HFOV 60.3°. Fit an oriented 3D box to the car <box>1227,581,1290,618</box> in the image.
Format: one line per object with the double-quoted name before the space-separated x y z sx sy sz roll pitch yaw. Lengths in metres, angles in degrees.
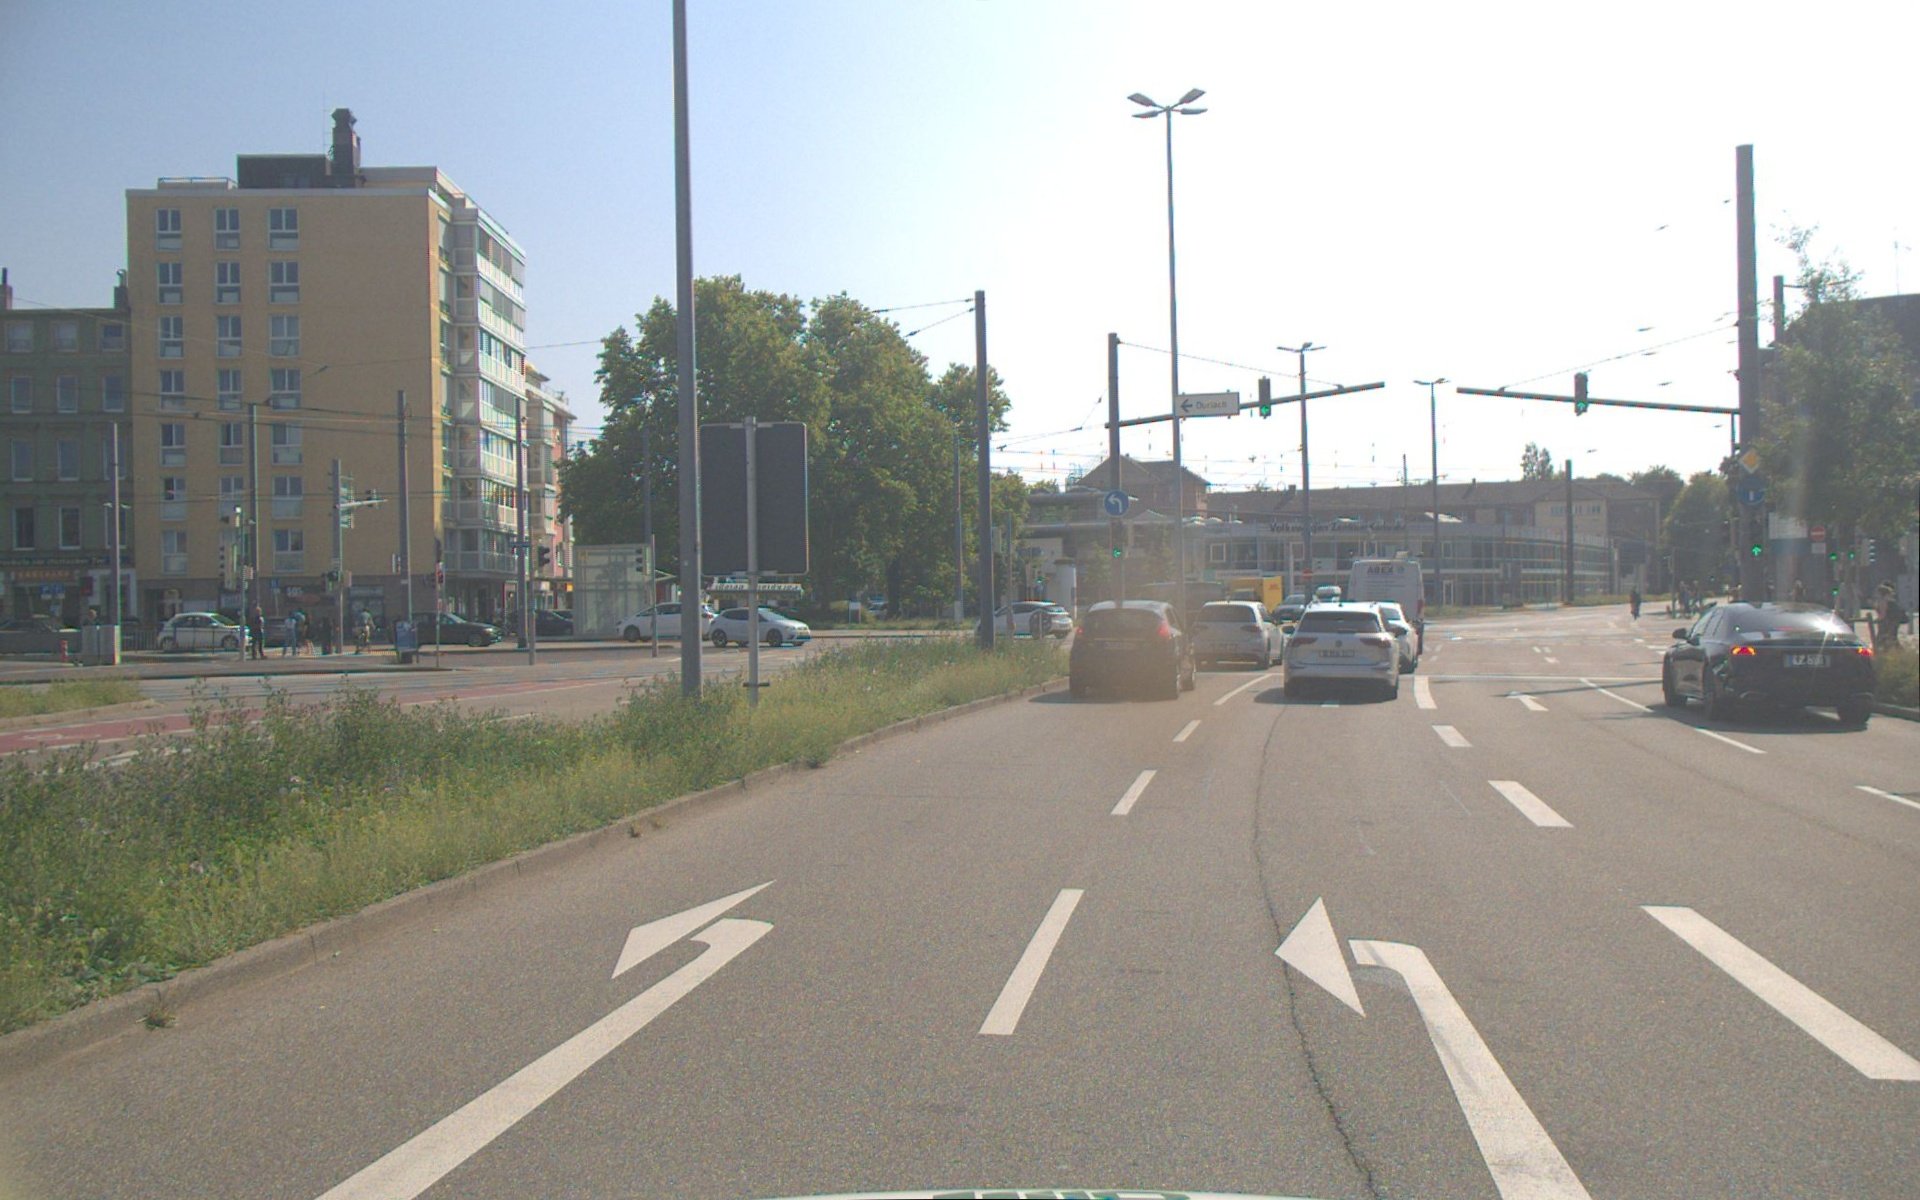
"car" 17.010 -0.025 94.208 1.957 2.049 4.653 -1 0 32

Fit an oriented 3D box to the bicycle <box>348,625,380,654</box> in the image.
"bicycle" -21.954 1.453 60.950 0.713 1.001 1.730 -1 0 -6

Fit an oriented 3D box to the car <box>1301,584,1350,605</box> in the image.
"car" 23.169 -0.365 104.851 1.860 1.302 4.124 -1 0 30

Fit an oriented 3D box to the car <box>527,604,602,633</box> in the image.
"car" -22.856 1.083 95.644 3.907 1.585 1.868 -1 0 -3

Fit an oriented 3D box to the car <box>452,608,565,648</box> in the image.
"car" -17.488 1.075 64.225 3.959 1.423 1.585 -1 0 -5

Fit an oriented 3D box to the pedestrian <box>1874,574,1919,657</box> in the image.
"pedestrian" 19.022 0.307 33.578 0.602 1.657 0.534 -1 0 2

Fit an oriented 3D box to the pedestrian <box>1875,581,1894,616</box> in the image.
"pedestrian" 37.026 -0.064 66.256 0.645 1.384 0.658 0 2 28

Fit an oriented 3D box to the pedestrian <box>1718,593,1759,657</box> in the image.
"pedestrian" 17.070 0.550 36.257 0.622 1.386 0.634 -1 0 8

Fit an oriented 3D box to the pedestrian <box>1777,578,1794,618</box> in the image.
"pedestrian" 42.615 -0.110 85.381 0.731 2.049 0.806 -1 0 25

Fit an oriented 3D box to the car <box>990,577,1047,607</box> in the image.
"car" 4.296 -0.608 120.203 3.902 2.048 2.002 -1 2 9

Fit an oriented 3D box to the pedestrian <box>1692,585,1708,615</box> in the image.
"pedestrian" 37.827 -0.002 84.526 0.731 1.556 0.806 -1 0 25

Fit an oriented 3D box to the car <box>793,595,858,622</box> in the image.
"car" -8.267 0.531 102.102 3.907 1.585 1.727 -1 0 -3

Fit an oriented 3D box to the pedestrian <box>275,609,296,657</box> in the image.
"pedestrian" -24.477 1.183 60.009 0.445 1.714 0.548 -1 2 10

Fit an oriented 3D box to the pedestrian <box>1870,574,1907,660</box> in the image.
"pedestrian" 18.384 0.336 32.747 0.603 1.667 0.532 -1 0 32

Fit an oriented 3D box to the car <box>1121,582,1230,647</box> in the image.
"car" 7.040 0.460 54.525 1.989 2.043 4.666 -1 0 -14

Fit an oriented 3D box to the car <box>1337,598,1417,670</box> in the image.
"car" 8.768 0.697 34.992 1.457 1.427 3.945 -1 -1 11

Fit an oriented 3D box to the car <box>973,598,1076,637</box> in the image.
"car" 2.538 0.669 65.573 3.923 1.397 1.561 1 3 40

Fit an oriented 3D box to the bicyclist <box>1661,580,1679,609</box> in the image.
"bicyclist" 37.610 -0.309 87.585 0.788 1.524 0.748 -1 0 28

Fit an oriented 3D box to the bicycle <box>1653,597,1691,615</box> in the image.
"bicycle" 37.685 0.308 87.545 1.763 0.900 0.760 -1 0 28

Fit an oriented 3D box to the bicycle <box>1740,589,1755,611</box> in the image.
"bicycle" 46.057 -0.026 96.741 0.724 1.239 2.244 -1 0 25

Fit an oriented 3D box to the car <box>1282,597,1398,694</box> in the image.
"car" 5.941 0.691 26.091 1.649 1.412 3.637 -1 -1 11

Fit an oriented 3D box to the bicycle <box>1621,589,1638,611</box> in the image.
"bicycle" 34.181 -0.005 84.444 0.692 1.080 1.981 -1 0 24

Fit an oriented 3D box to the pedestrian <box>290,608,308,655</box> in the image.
"pedestrian" -24.404 1.155 61.048 0.452 1.714 0.434 -3 3 -40

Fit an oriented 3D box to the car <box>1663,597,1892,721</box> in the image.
"car" 10.700 0.697 22.017 1.781 1.465 4.877 0 0 15

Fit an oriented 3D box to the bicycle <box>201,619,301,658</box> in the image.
"bicycle" -31.970 1.726 74.659 3.908 1.578 1.195 -1 2 -4

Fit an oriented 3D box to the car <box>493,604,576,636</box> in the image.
"car" -22.739 1.057 88.456 3.906 1.584 1.869 -1 2 -1

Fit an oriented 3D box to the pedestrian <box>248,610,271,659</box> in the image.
"pedestrian" -25.122 1.222 59.320 0.445 1.714 0.547 0 2 23

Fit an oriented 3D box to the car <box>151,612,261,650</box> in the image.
"car" -30.264 1.223 66.438 3.661 1.417 1.586 -1 0 -2

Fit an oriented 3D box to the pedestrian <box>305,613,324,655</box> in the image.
"pedestrian" -24.008 1.260 61.524 0.494 1.513 0.434 -3 3 -40

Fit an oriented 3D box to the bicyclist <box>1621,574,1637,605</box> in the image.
"bicyclist" 34.190 -0.516 84.480 0.698 1.556 0.806 -1 0 25

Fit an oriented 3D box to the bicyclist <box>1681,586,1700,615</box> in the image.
"bicyclist" 38.112 0.034 86.290 0.788 1.486 0.748 -1 0 28

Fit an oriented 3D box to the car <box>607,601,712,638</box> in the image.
"car" -12.615 0.817 69.493 3.988 1.528 1.629 -1 -1 11

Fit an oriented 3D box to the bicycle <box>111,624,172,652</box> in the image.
"bicycle" -37.226 1.724 75.209 2.421 1.135 0.731 -2 3 -31

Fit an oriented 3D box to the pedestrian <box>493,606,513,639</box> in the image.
"pedestrian" -22.940 1.143 83.049 0.834 1.649 0.541 -1 0 -6

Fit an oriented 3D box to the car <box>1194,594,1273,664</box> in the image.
"car" 6.065 0.601 36.447 1.457 1.440 3.651 -1 0 14

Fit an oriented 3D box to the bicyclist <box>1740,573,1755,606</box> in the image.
"bicyclist" 45.998 -0.619 96.634 0.731 1.861 0.806 -1 0 25

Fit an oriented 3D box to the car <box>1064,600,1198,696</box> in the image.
"car" 2.770 0.726 26.113 1.665 1.392 3.967 -1 -1 12

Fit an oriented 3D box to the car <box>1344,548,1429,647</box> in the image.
"car" 11.874 -0.045 46.192 2.142 2.594 4.687 -1 -1 14

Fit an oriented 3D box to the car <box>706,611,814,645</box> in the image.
"car" -7.528 1.061 62.252 3.754 1.200 1.575 -1 0 26

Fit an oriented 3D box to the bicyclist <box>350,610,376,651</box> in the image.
"bicyclist" -21.949 1.113 60.827 0.711 1.459 0.689 -1 0 -6

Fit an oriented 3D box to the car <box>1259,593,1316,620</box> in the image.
"car" 17.959 0.344 90.461 1.859 1.348 4.125 -1 0 29

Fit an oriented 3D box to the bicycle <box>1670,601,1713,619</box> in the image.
"bicycle" 38.150 0.510 86.271 2.012 0.910 0.745 -1 0 28

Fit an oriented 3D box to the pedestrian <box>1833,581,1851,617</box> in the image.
"pedestrian" 35.146 -0.037 65.905 0.645 1.384 0.658 0 2 28
